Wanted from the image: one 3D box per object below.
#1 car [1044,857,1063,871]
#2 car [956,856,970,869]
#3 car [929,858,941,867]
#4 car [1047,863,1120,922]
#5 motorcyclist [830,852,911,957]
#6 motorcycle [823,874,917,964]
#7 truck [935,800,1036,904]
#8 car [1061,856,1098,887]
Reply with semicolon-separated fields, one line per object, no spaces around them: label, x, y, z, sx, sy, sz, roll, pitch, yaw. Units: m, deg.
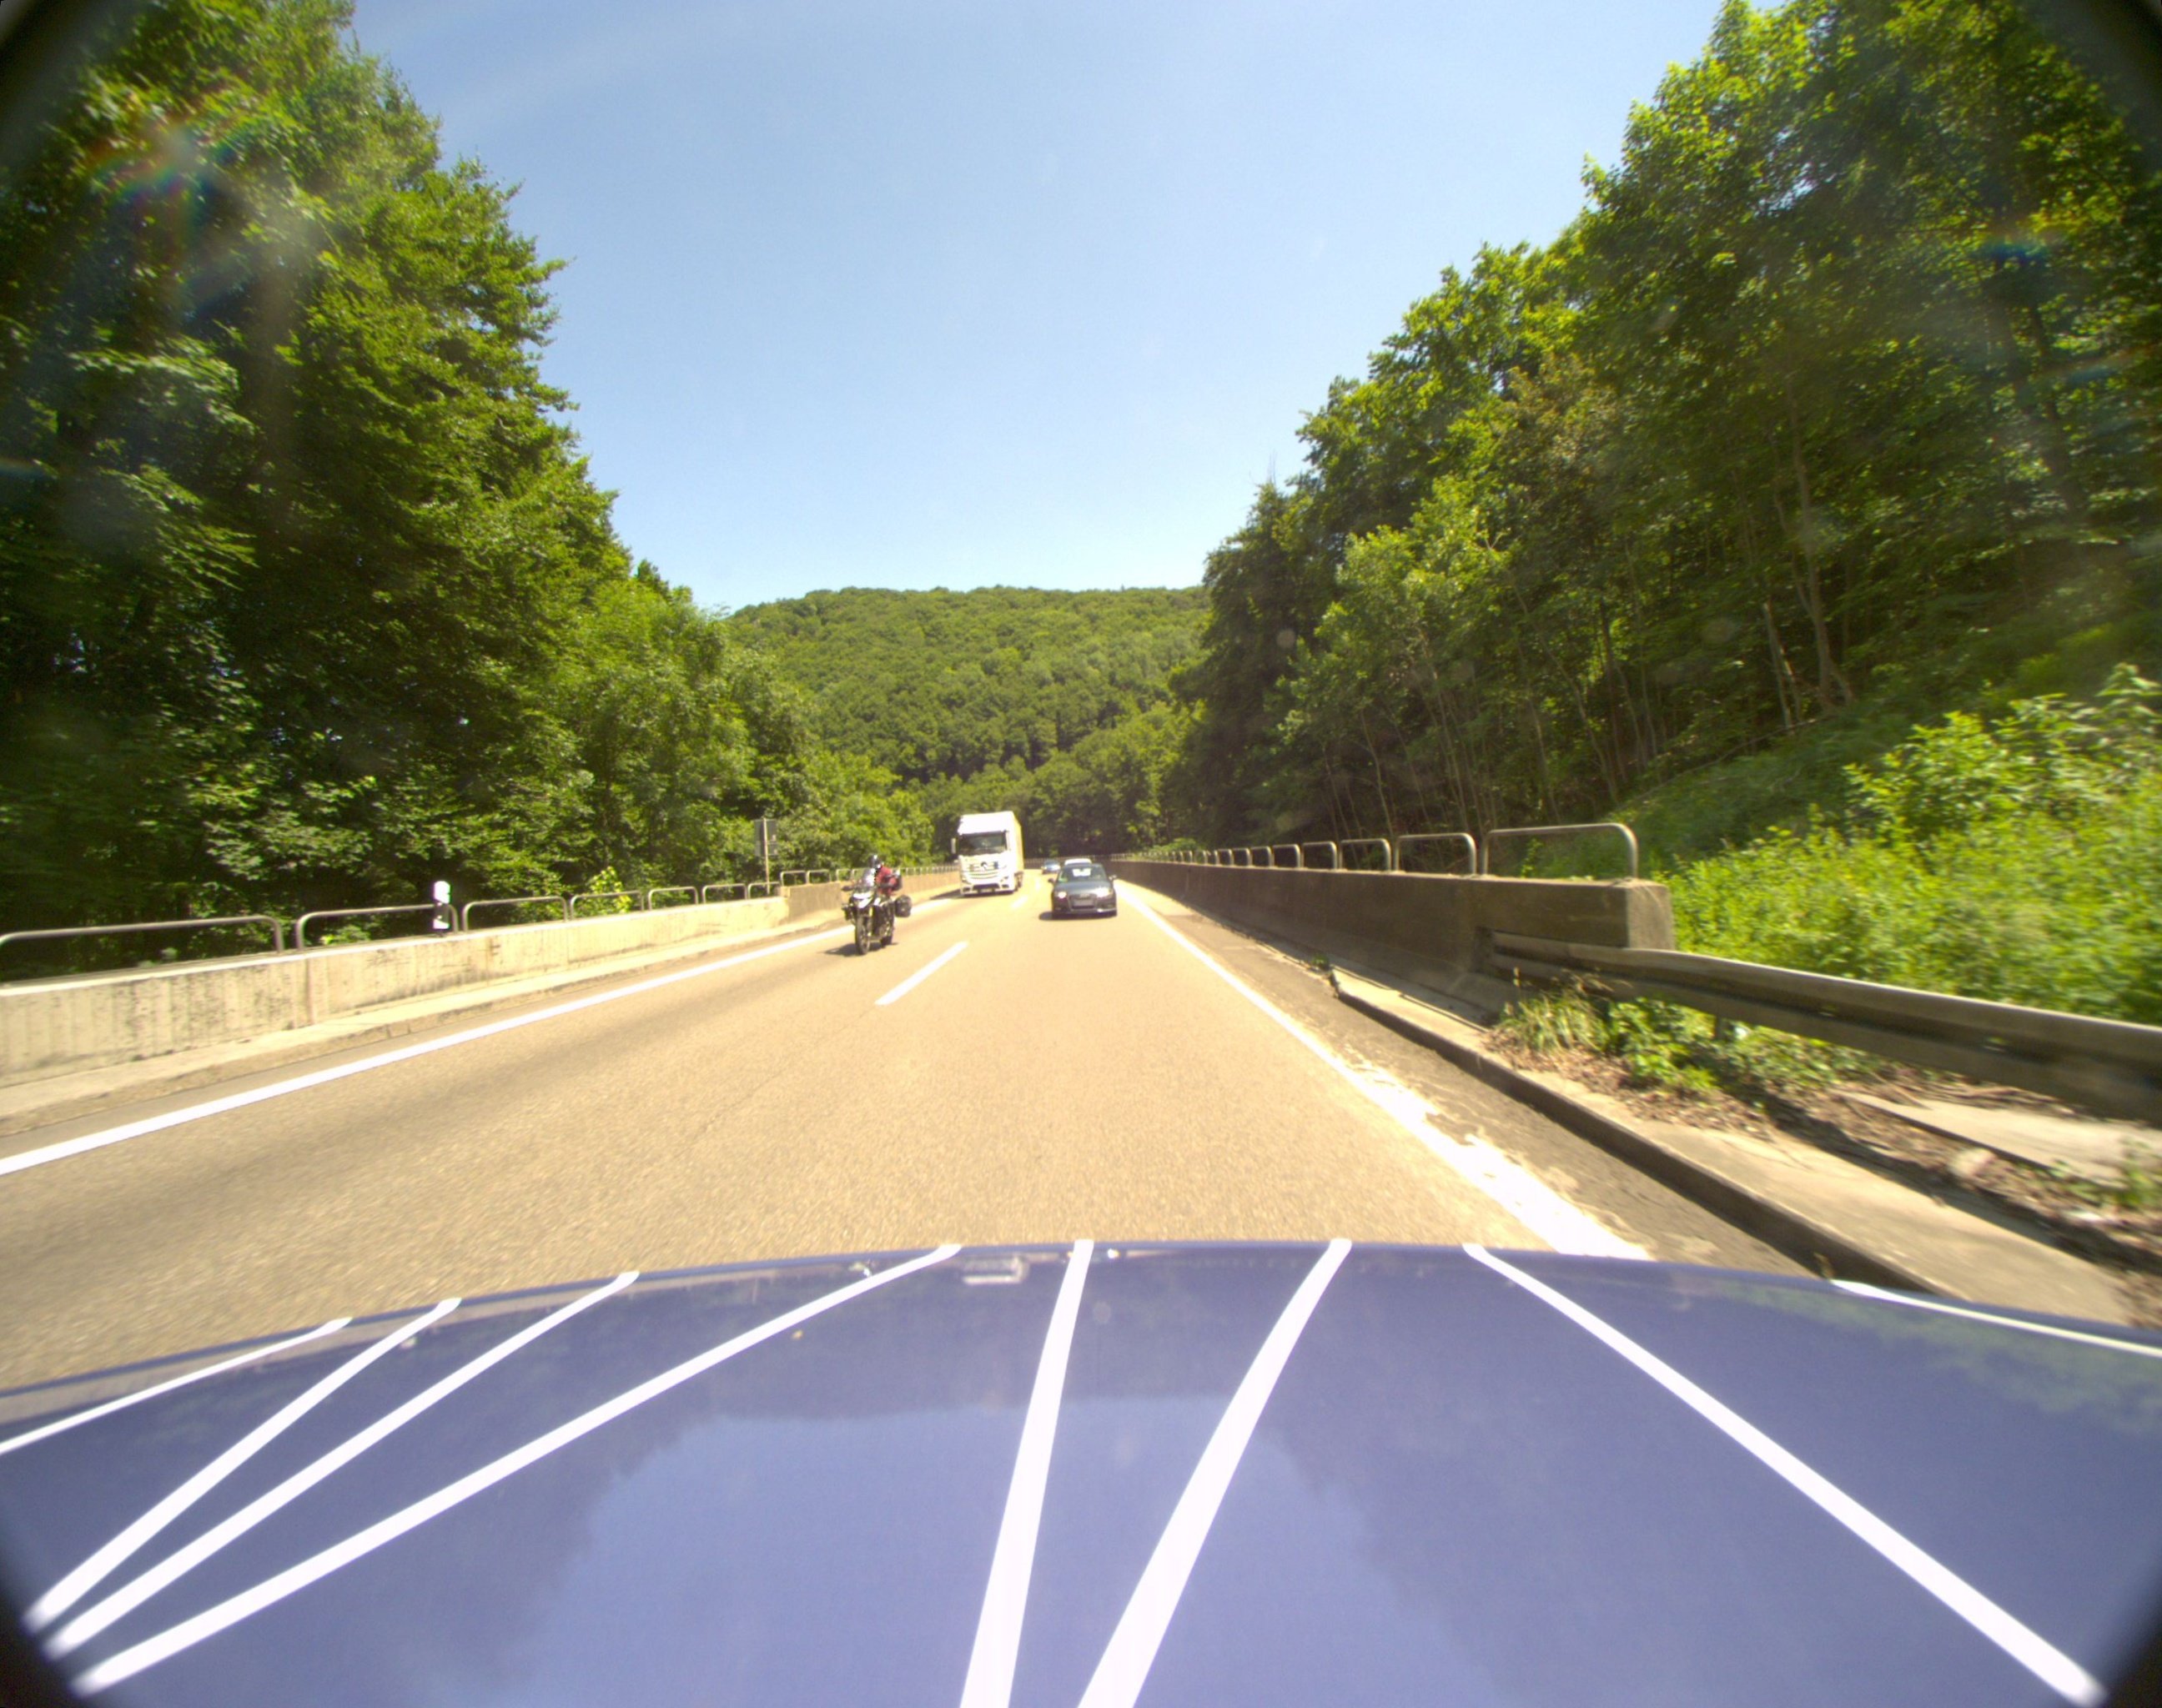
car;-2.978;1.046;81.260;1.756;1.480;3.980;-2;0;-6
car;-19.736;1.437;126.745;2.001;2.002;3.995;-2;0;-13
car;-31.843;1.871;165.901;2.001;2.002;3.994;-2;0;-19
car;0.037;0.975;20.835;1.755;1.350;4.121;-2;0;-1
motorcyclist;-3.832;0.877;13.952;1.063;1.790;1.338;-2;0;-1
motorcycle;-3.860;1.140;14.203;0.975;1.411;2.681;-2;0;0
truck;-4.497;-0.112;40.211;2.969;4.108;16.705;-5;0;0
car;-0.146;0.892;40.079;1.756;1.460;3.981;-2;0;-2
